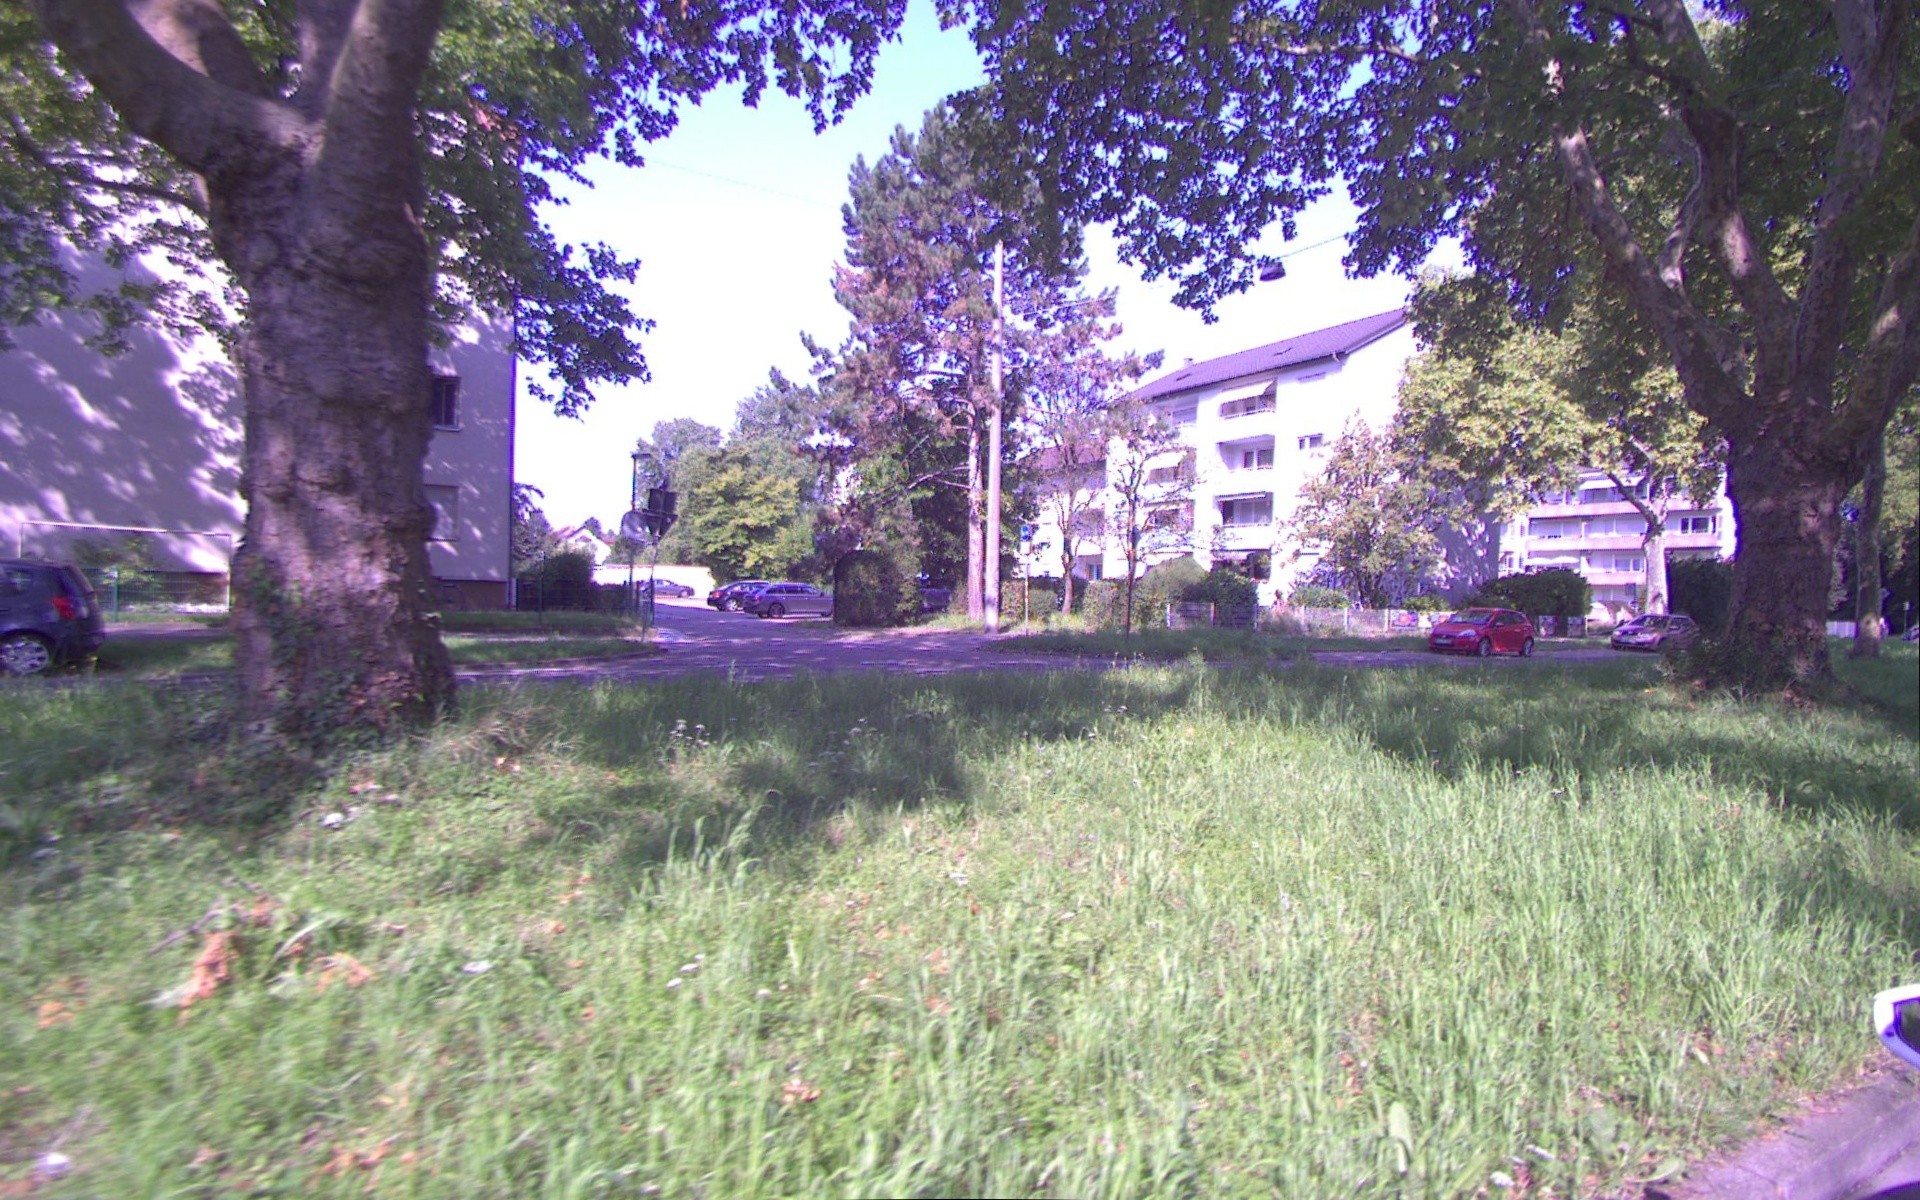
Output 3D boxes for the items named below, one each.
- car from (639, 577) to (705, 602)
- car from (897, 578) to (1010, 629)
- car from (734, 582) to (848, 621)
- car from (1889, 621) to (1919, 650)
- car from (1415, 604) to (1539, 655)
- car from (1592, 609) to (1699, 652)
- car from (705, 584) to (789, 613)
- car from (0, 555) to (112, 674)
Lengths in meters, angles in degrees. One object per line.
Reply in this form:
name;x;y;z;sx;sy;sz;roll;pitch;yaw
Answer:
car;-21.112;-0.777;73.729;4.392;1.665;1.837;1;1;-27
car;-0.252;0.162;40.969;4.210;1.926;1.837;2;1;-27
car;-7.187;0.047;42.776;4.393;1.490;1.837;2;1;-27
car;52.923;1.973;55.167;4.490;1.528;1.690;2;0;-32
car;16.170;0.929;31.379;4.017;1.471;1.531;2;1;-31
car;25.875;1.137;37.892;4.017;1.449;1.793;1;1;-31
car;-11.074;-0.057;52.213;3.953;1.350;1.640;2;1;-30
car;-13.805;0.148;13.199;3.820;1.553;1.514;2;0;-32
